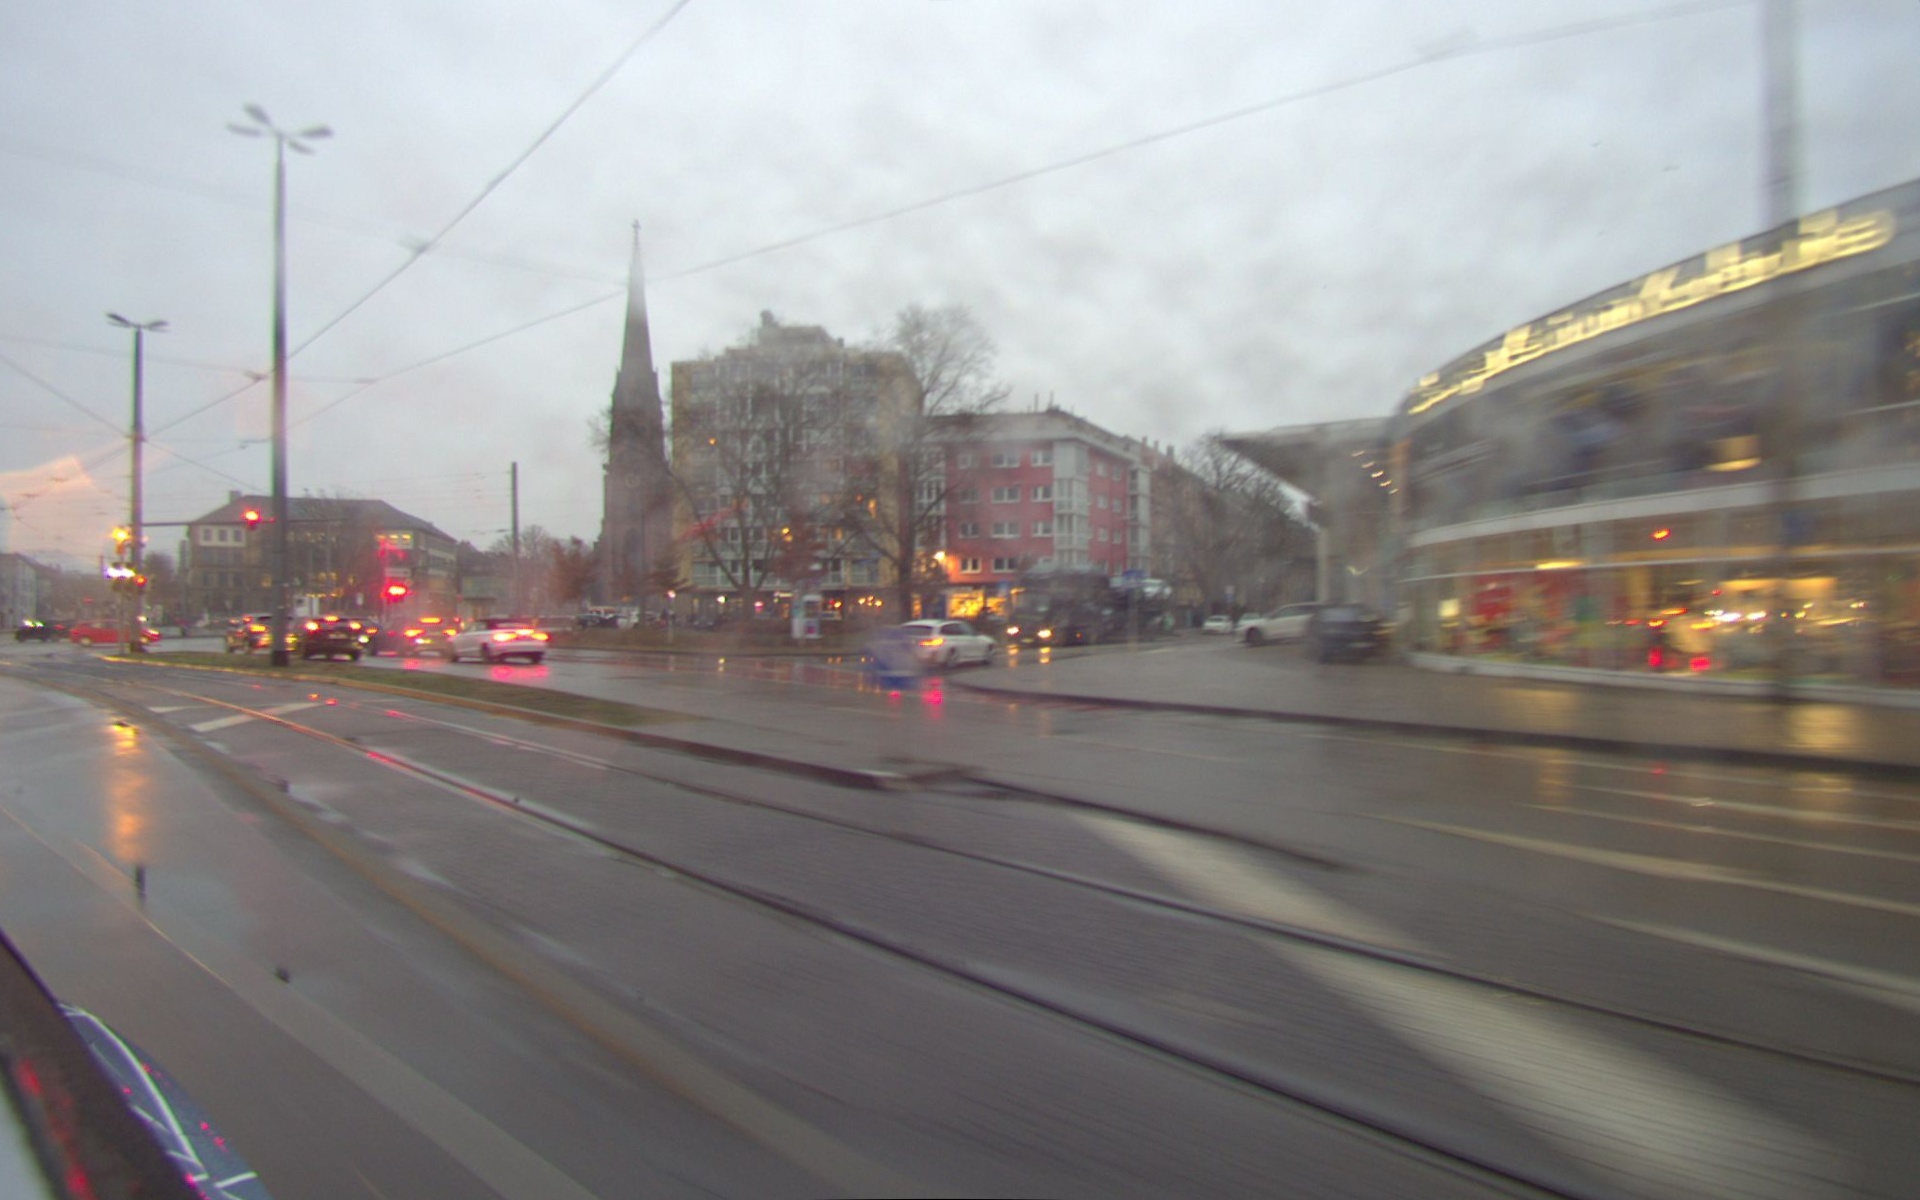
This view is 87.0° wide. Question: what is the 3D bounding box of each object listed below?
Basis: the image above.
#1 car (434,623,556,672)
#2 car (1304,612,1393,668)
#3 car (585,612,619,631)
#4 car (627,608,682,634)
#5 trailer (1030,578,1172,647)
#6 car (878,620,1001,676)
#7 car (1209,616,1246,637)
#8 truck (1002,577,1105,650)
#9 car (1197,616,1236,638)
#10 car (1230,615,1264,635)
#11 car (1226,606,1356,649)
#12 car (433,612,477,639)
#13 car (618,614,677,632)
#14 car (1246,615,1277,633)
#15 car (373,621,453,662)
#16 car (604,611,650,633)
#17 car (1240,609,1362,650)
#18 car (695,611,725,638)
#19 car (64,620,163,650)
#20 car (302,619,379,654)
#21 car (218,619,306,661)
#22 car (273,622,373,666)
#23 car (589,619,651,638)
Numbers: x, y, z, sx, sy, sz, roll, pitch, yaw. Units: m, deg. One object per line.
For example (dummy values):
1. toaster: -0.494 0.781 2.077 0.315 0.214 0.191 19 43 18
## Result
1. car: -15.030 1.482 32.617 4.587 1.432 1.972 -1 -1 43
2. car: 11.020 1.084 28.976 1.725 1.409 4.276 -1 0 13
3. car: -36.381 2.143 102.942 1.800 1.807 4.565 -1 -1 2
4. car: -25.106 1.733 83.229 3.948 2.029 1.998 -1 0 4
5. trailer: 8.453 0.597 57.724 2.626 3.443 14.904 -1 0 30
6. car: -0.530 1.425 31.356 1.988 1.509 4.771 -1 -1 24
7. car: 21.990 2.164 83.063 1.992 1.674 3.959 -1 -1 30
8. truck: 4.878 0.642 51.465 2.647 3.443 6.687 -1 0 30
9. car: 20.042 2.103 78.984 1.992 1.674 3.959 -1 -1 30
10. car: 25.509 2.187 89.840 1.962 1.674 3.959 -1 -1 30
11. car: 12.572 1.020 38.477 4.404 1.534 1.865 -1 0 31
12. car: -40.828 2.016 81.921 1.968 2.029 4.007 -1 0 -8
13. car: -24.395 1.759 79.110 3.948 1.320 1.998 -1 0 4
14. car: 29.064 2.303 97.418 1.962 1.674 3.959 -1 -1 30
15. car: -20.188 1.494 37.291 3.471 1.429 1.583 -1 -1 43
16. car: -31.615 2.066 95.978 3.930 2.029 2.007 -1 0 -24
17. car: 13.804 1.170 41.034 4.404 1.534 1.865 -1 0 31
18. car: -20.055 1.938 81.203 1.968 2.029 4.008 -1 0 -9
19. car: -47.176 1.936 56.503 4.028 1.541 2.005 -1 0 -35
20. car: -25.969 1.485 42.394 3.999 1.368 1.706 -1 -1 42
21. car: -26.620 1.473 38.553 3.999 1.497 1.880 -1 -1 42
22. car: -21.413 1.447 33.963 4.000 1.401 1.851 -1 -3 43
23. car: -25.450 2.093 75.745 3.948 1.320 1.998 -1 0 4
